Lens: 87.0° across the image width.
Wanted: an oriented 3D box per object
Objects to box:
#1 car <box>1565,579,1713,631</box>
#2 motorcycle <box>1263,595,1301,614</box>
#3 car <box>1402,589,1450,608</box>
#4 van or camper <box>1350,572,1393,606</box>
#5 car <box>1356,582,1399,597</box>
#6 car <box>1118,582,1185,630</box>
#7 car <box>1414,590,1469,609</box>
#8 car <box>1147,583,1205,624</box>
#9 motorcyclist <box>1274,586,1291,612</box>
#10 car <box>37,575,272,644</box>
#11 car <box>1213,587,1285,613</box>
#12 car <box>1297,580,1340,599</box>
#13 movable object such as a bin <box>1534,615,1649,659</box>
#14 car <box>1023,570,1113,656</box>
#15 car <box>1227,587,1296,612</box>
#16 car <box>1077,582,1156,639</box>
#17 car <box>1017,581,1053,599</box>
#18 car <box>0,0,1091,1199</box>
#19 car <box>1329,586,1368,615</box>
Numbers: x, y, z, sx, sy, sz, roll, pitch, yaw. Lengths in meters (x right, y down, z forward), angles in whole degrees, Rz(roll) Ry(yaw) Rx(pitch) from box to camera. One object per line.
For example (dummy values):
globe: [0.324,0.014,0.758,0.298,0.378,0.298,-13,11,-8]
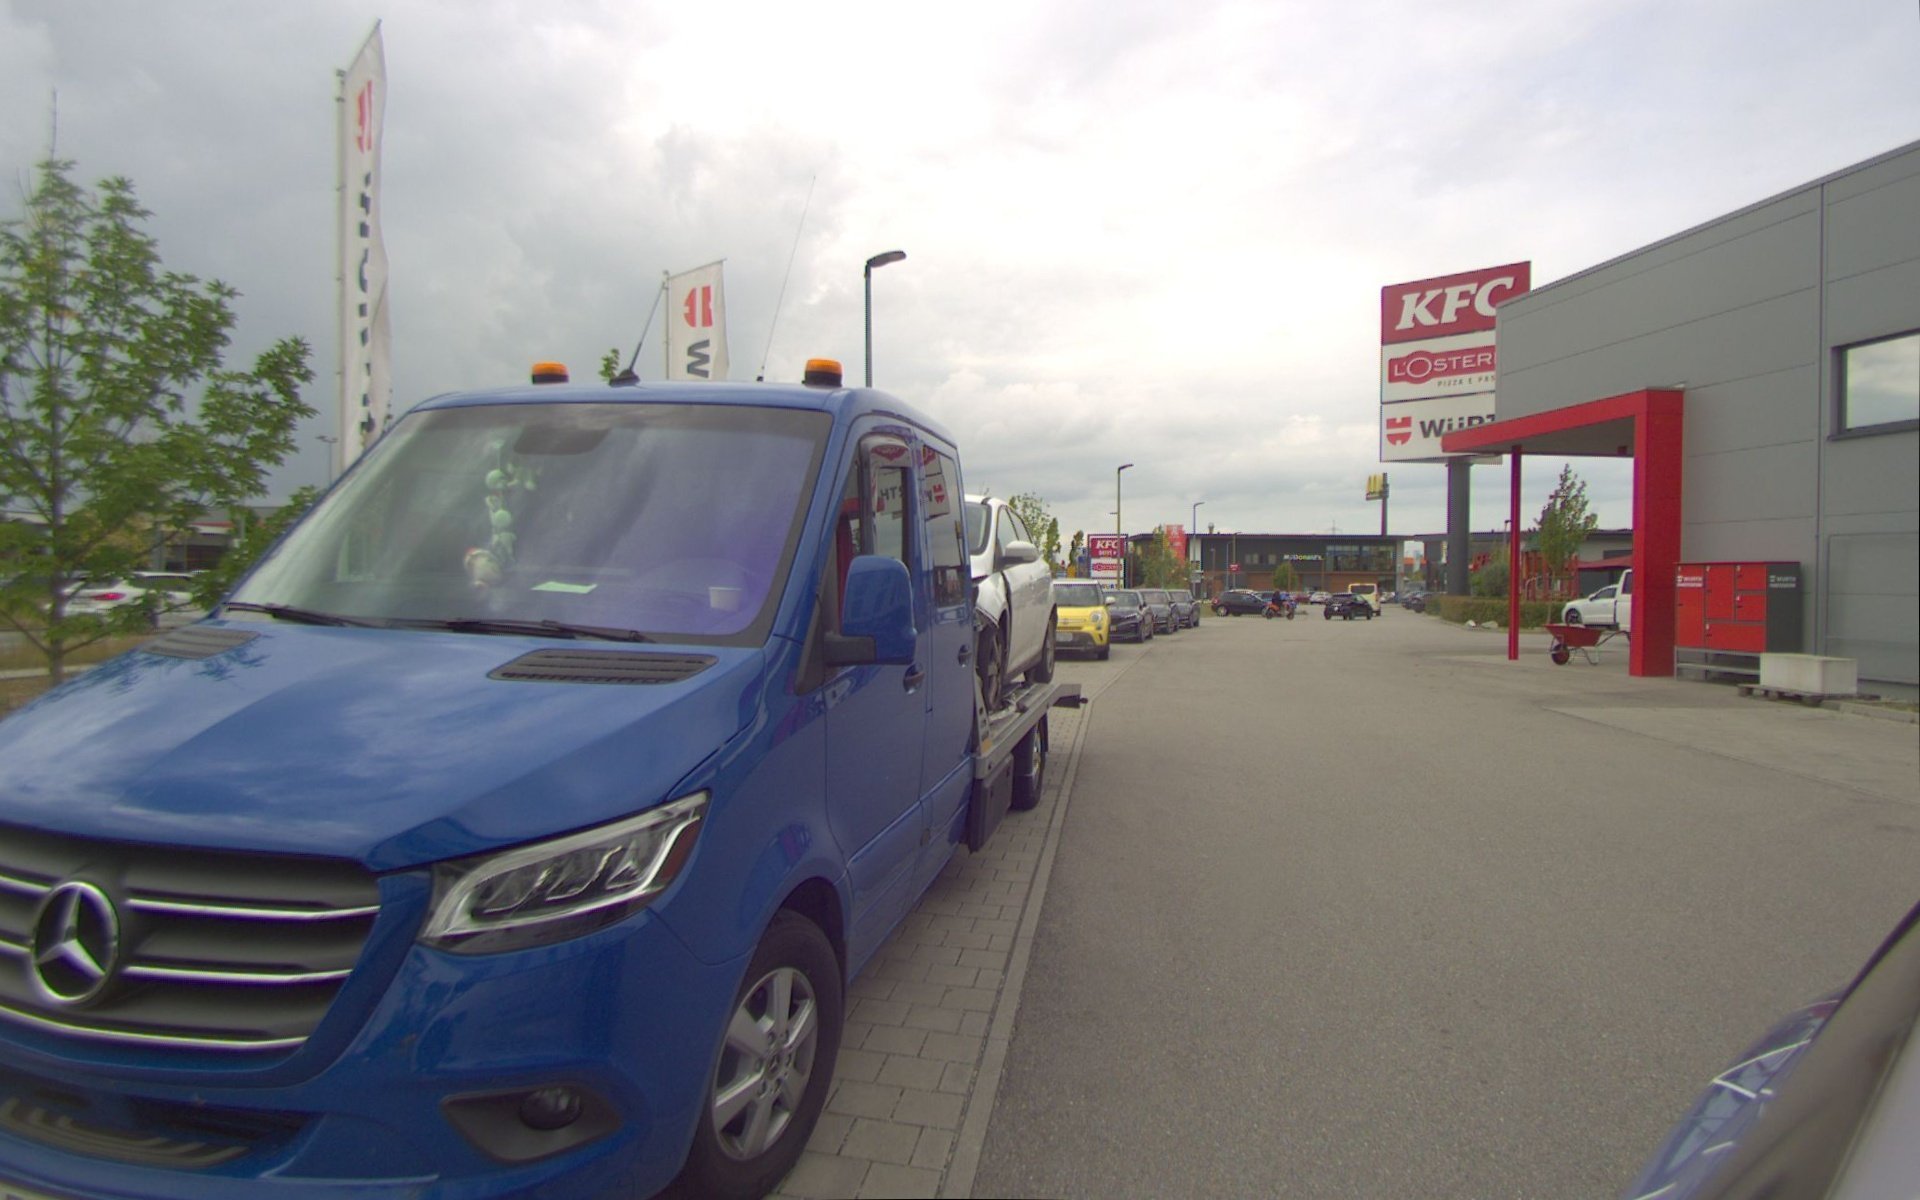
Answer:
car: [24.303,0.129,36.477,1.723,1.770,4.749,0,1,-7]
motorcycle: [16.746,0.234,52.644,1.833,0.928,0.556,1,0,-1]
car: [45.936,-0.134,99.825,3.932,1.861,1.996,0,1,7]
van or camper: [26.066,-0.704,64.050,1.844,2.087,5.179,1,1,30]
car: [46.973,-1.196,113.902,1.964,1.683,3.996,-1,1,-39]
car: [6.548,0.142,34.277,1.729,1.509,4.607,0,1,17]
car: [35.363,-0.045,74.385,3.390,1.311,1.494,0,1,12]
car: [8.497,0.074,39.518,1.730,1.509,4.460,0,1,19]
motorcyclist: [16.793,-0.079,52.646,0.660,1.332,0.575,1,0,-2]
car: [-19.067,0.154,24.231,1.774,1.468,4.231,1,2,14]
car: [17.073,-0.024,59.809,3.951,1.438,1.798,1,1,21]
car: [39.455,-1.151,111.432,1.964,2.039,3.996,-1,1,-39]
movable object such as a bin: [11.179,0.658,17.947,1.552,0.725,0.805,1,1,-8]
car: [2.463,0.222,22.305,1.724,1.704,4.287,0,1,9]
car: [18.483,-0.062,62.005,3.951,1.438,1.798,1,1,21]
car: [4.424,0.226,28.116,1.728,1.433,4.286,0,1,15]
car: [6.015,-0.836,80.621,1.739,1.371,3.972,1,1,21]
car: [-0.789,0.135,5.443,2.168,2.352,7.825,1,1,13]
car: [20.669,0.005,53.778,1.494,1.465,3.093,2,2,30]
